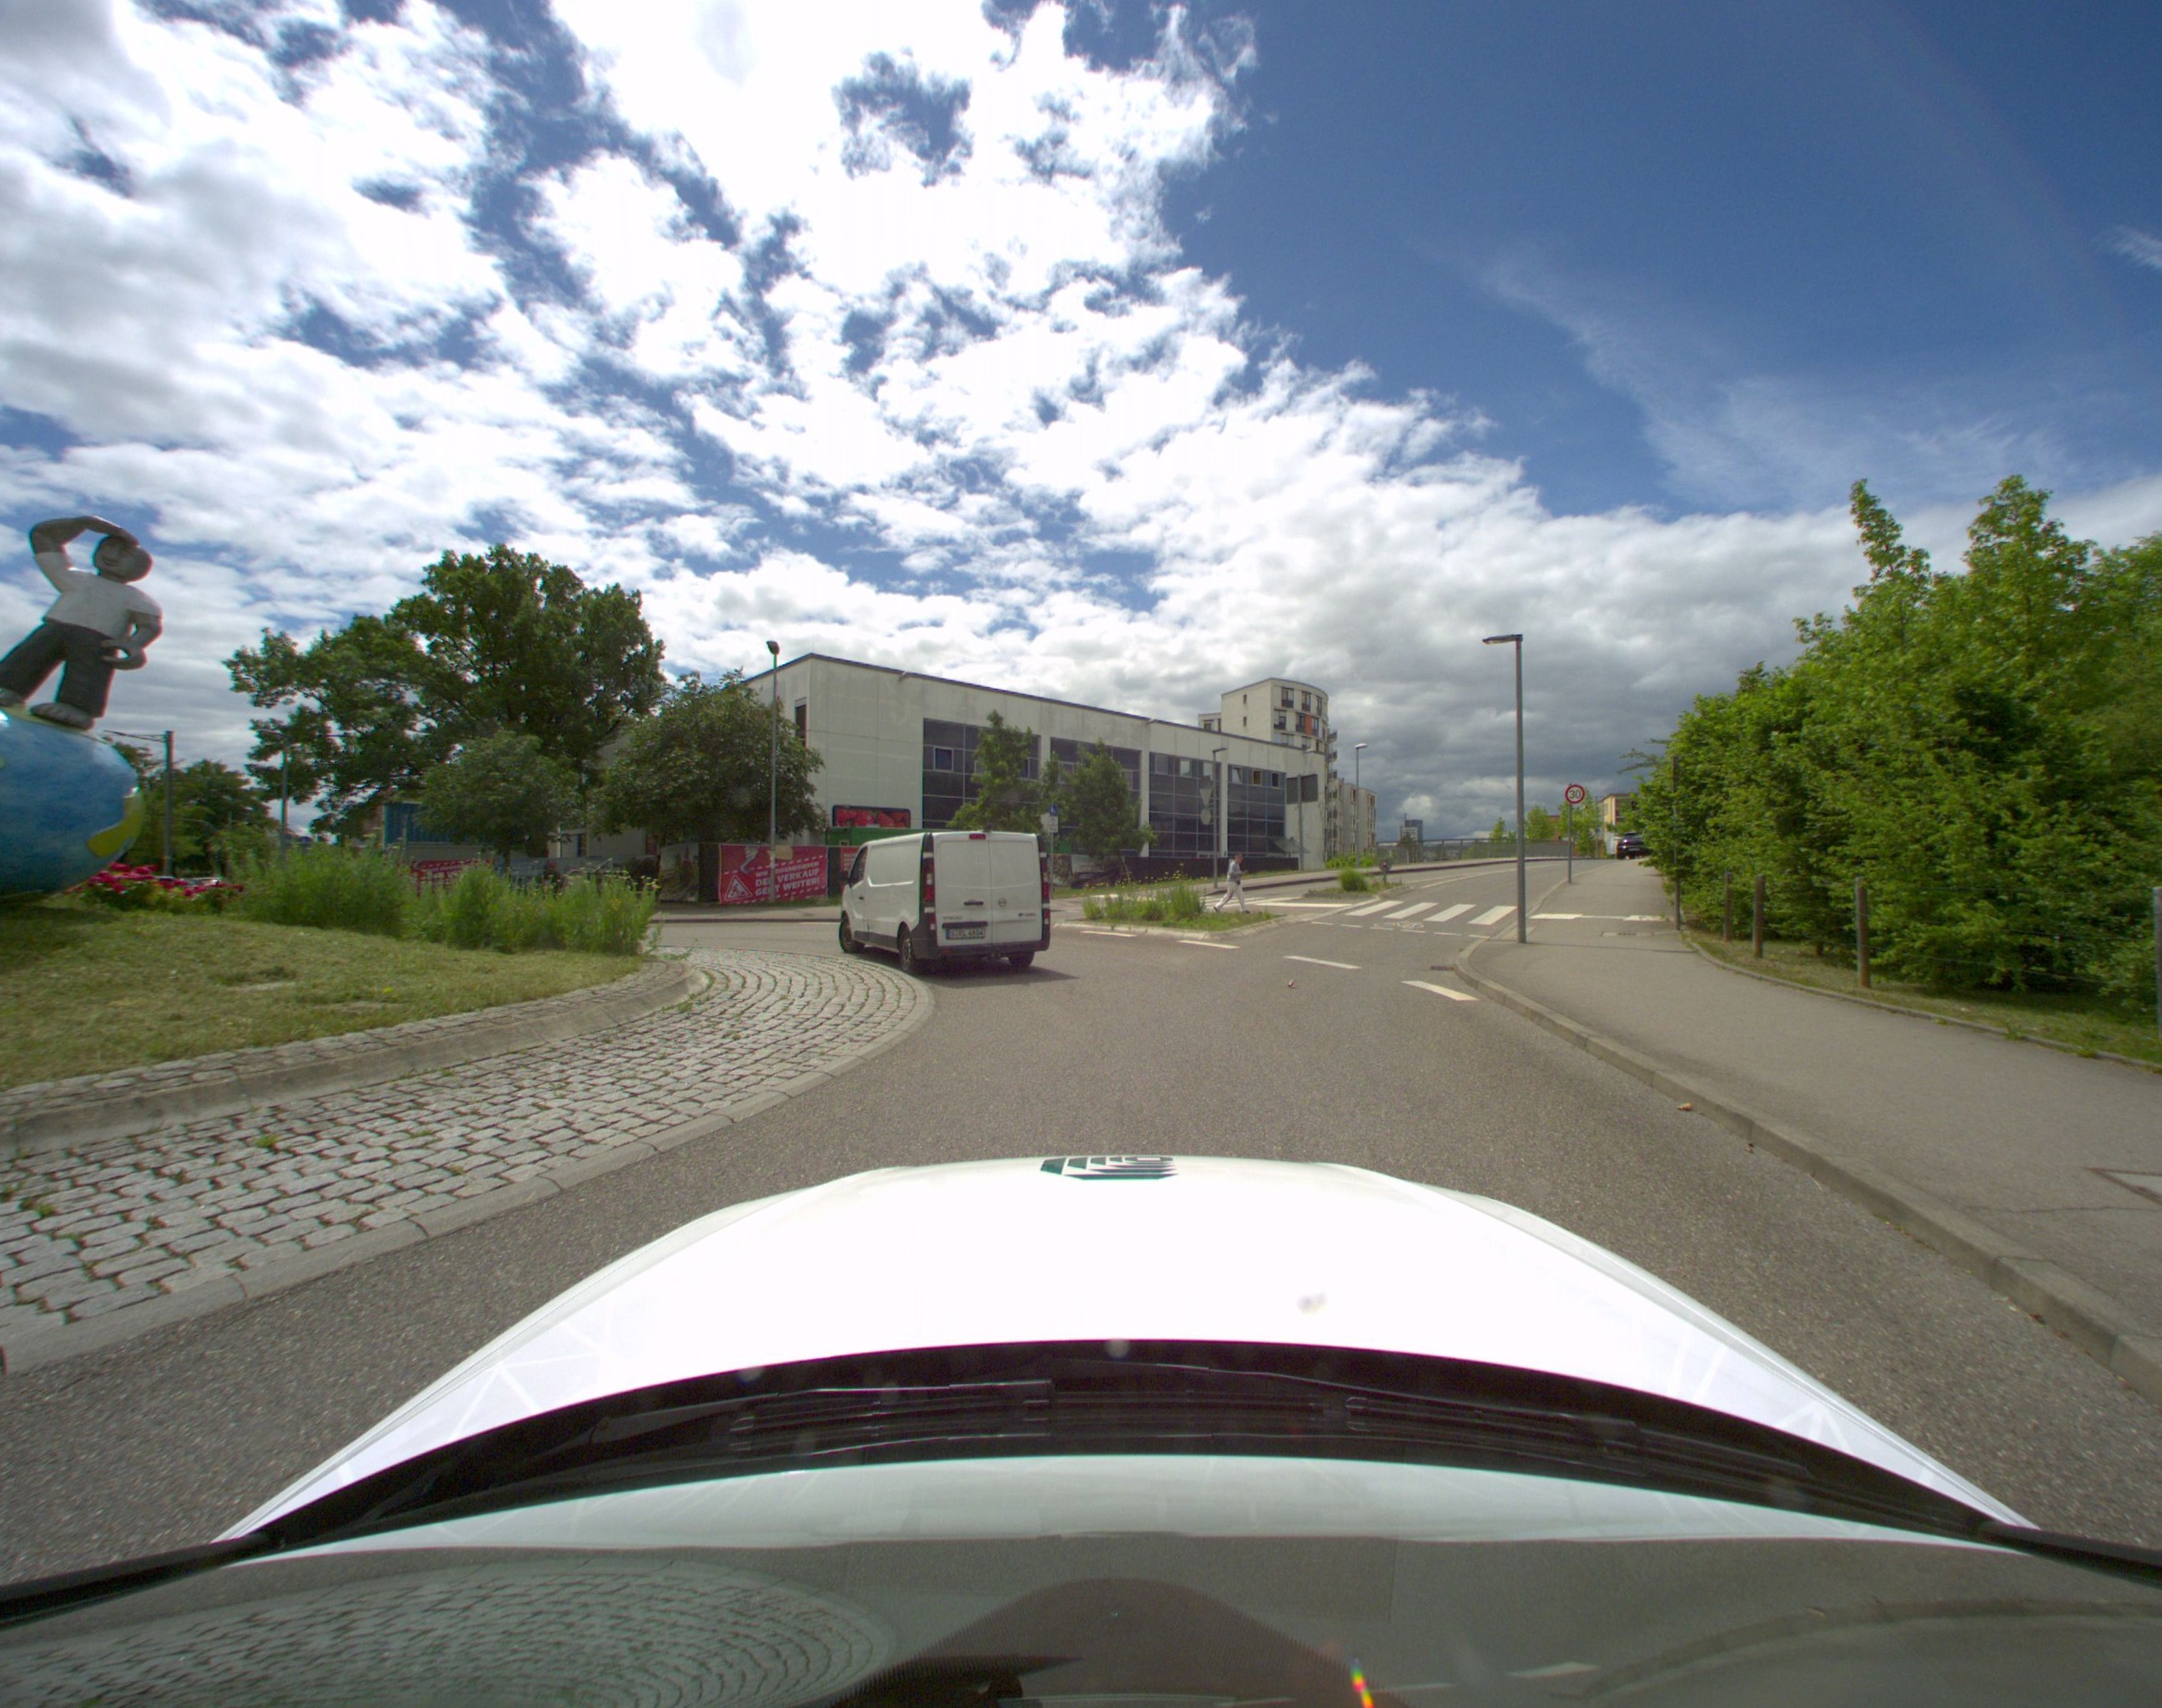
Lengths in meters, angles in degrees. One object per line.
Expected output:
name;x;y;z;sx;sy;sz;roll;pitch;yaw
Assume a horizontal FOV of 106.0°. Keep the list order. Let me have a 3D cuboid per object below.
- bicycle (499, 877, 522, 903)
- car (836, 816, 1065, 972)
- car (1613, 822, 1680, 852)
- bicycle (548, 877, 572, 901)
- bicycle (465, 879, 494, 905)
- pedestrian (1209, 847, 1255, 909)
bicycle;-25.641;1.622;36.600;0.533;1.094;2.046;3;-2;-42
car;-2.293;0.564;12.858;2.046;1.946;4.948;2;-2;-28
car;32.081;-0.935;46.176;4.017;1.453;1.892;3;-2;-36
bicycle;-24.250;1.610;37.886;0.635;1.049;1.945;3;-2;-41
bicycle;-26.359;1.648;35.656;2.045;1.049;0.635;0;-3;43
pedestrian;3.872;0.612;20.993;1.029;1.541;0.896;1;-2;3
